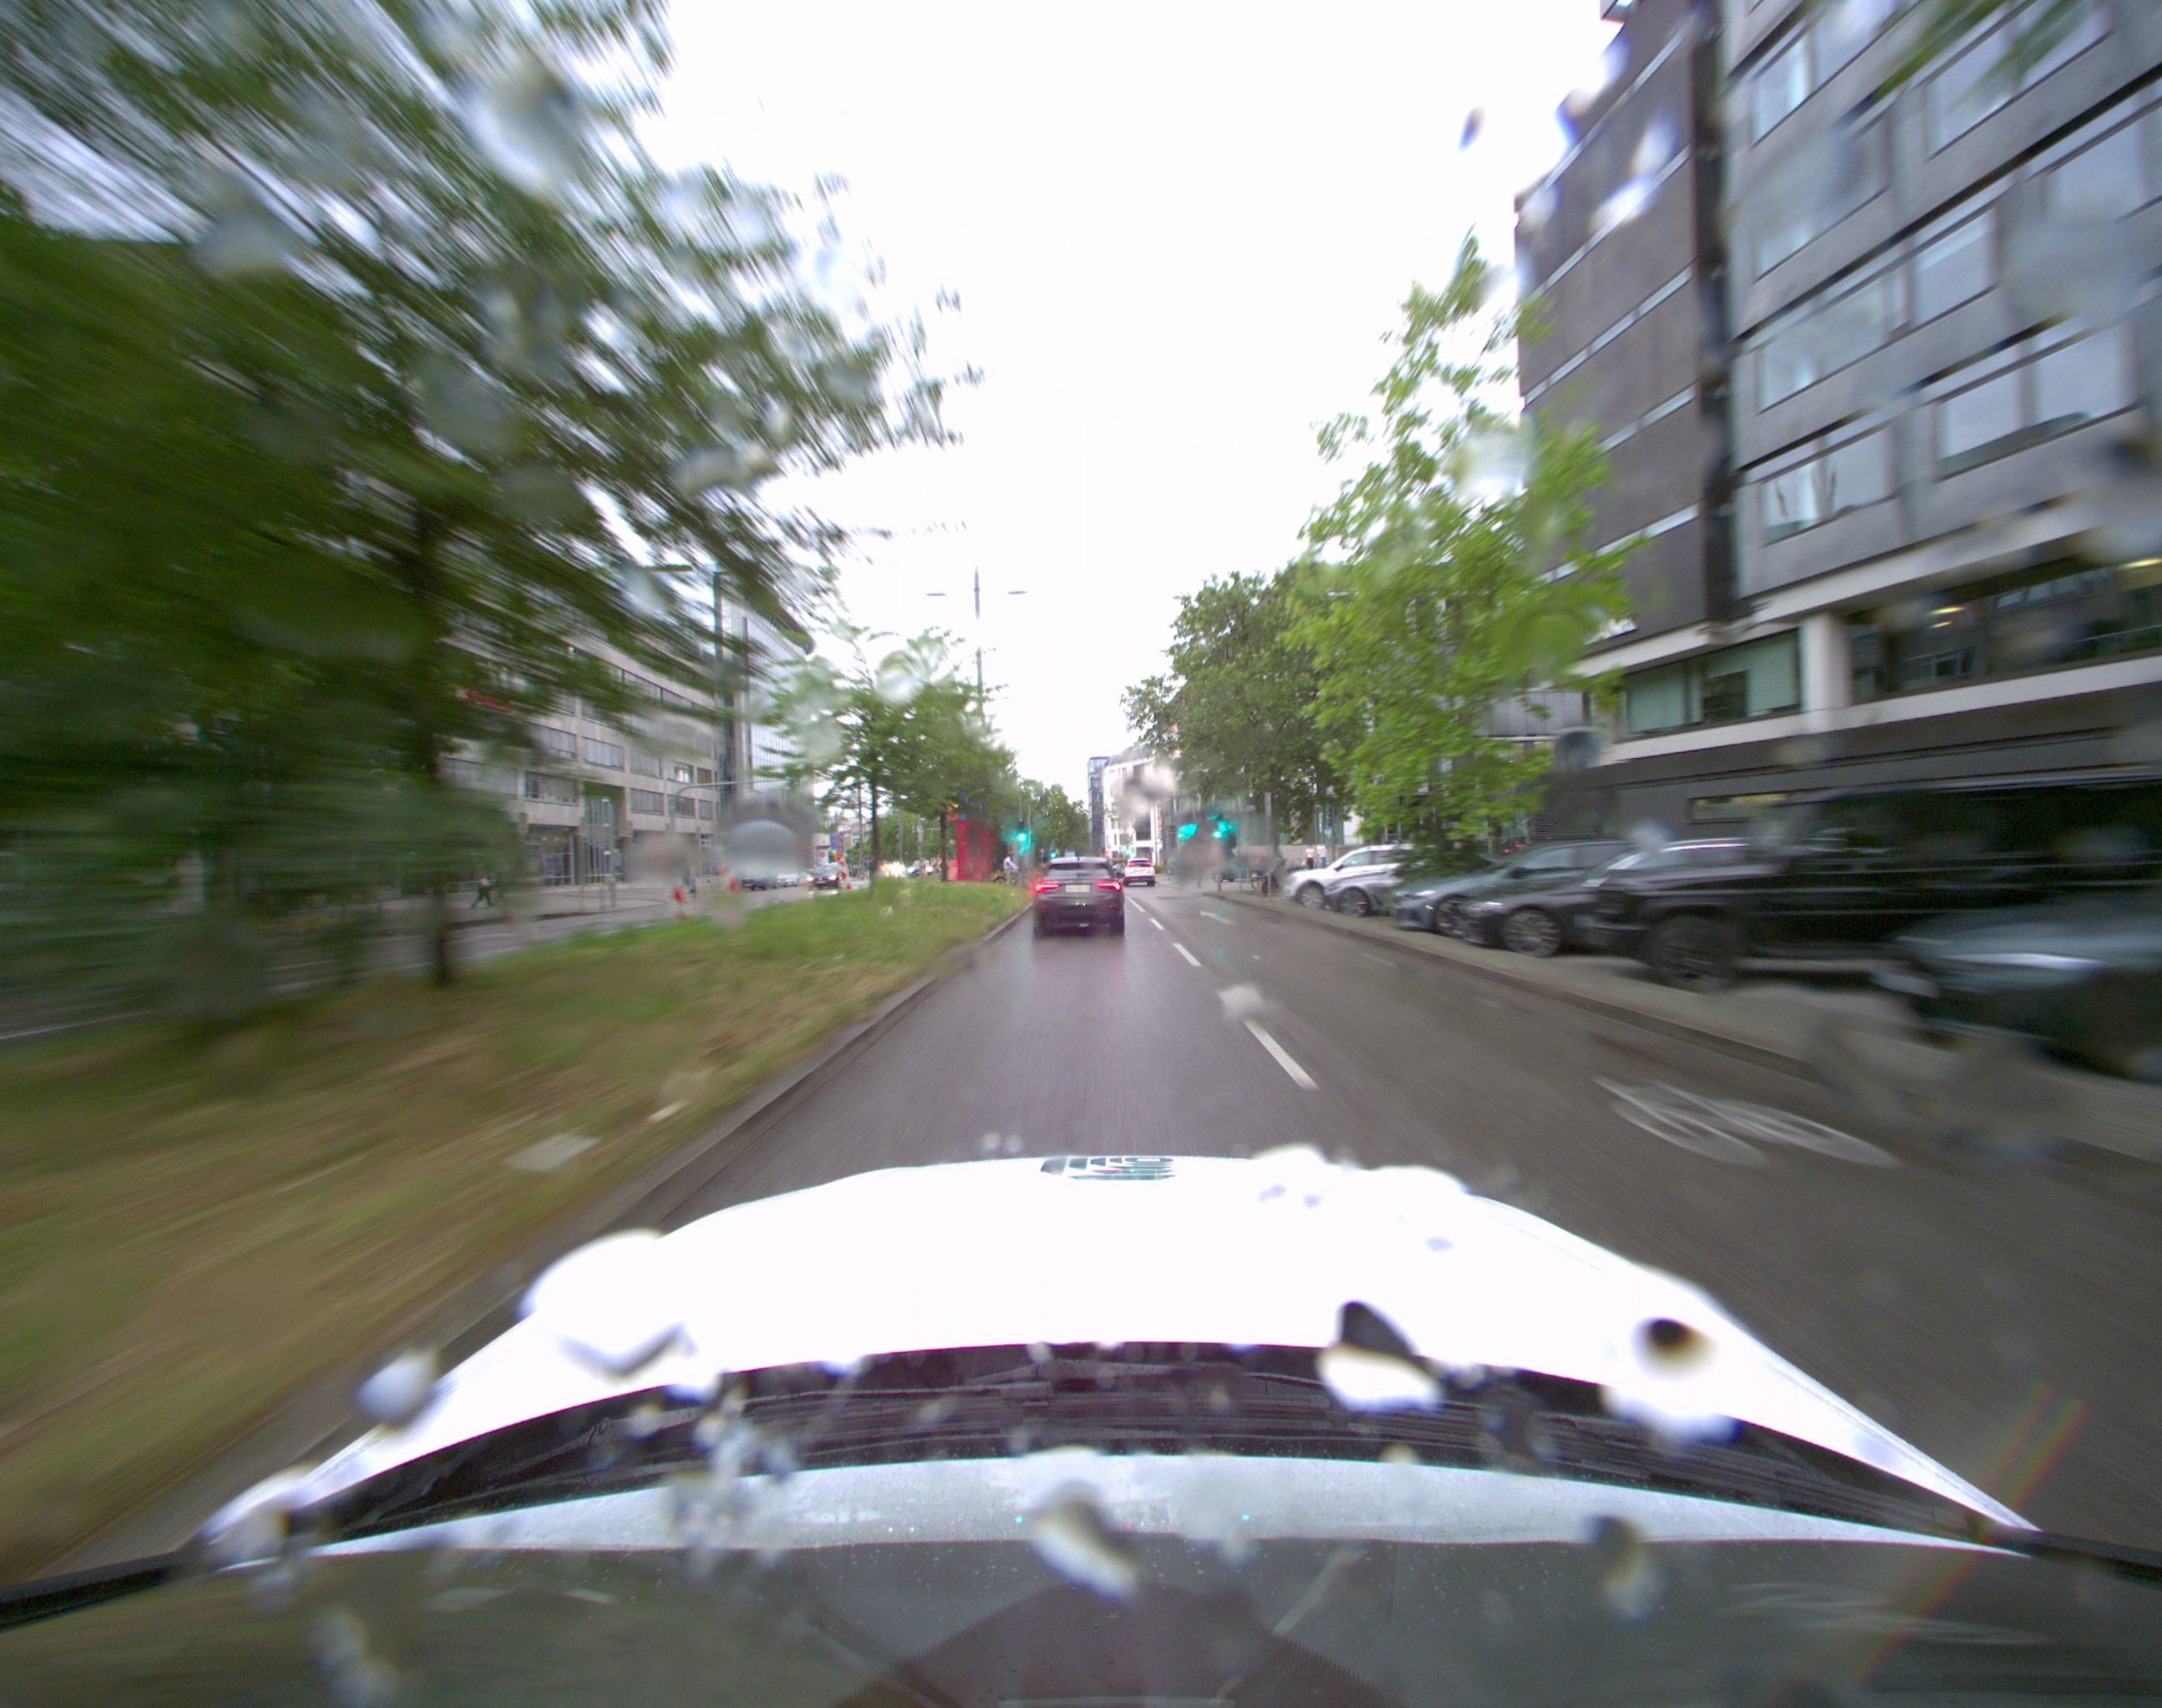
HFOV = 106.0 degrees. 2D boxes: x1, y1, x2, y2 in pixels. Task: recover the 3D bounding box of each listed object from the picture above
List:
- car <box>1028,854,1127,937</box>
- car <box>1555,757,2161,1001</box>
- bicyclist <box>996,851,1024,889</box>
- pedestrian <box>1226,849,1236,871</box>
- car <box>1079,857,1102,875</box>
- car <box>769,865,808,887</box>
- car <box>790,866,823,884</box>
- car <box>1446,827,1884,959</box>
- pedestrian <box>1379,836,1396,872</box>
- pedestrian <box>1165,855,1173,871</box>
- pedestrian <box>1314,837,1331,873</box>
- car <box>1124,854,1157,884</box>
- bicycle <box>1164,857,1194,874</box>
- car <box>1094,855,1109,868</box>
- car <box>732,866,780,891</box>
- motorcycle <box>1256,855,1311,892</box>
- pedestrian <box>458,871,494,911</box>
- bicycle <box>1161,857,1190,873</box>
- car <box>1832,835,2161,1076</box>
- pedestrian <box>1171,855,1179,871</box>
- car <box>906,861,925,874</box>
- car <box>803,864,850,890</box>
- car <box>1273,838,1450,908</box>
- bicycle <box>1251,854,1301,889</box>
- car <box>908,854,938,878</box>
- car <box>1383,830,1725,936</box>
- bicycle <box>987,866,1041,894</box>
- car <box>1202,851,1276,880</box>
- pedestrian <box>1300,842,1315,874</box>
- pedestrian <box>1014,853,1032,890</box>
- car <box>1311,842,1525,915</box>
[{"bbox_3d":[0.004,0.794,17.523,1.842,1.523,4.040,-1,0,2],"label":"car"},{"bbox_3d":[7.711,0.259,8.235,4.890,1.978,1.941,-3,0,28],"label":"car"},{"bbox_3d":[-3.113,0.696,35.663,1.100,1.622,0.751,1,-1,1],"label":"bicyclist"},{"bbox_3d":[14.455,0.587,78.489,0.929,2.115,1.079,-1,-1,14],"label":"pedestrian"},{"bbox_3d":[0.844,1.005,69.659,1.842,1.523,4.041,-1,0,3],"label":"car"},{"bbox_3d":[-22.536,1.681,62.935,1.806,1.548,3.992,-3,-1,-6],"label":"car"},{"bbox_3d":[-23.045,1.751,68.538,1.722,1.451,3.587,-3,-1,-4],"label":"car"},{"bbox_3d":[7.538,0.524,11.142,4.511,1.507,1.880,-3,0,26],"label":"car"},{"bbox_3d":[15.665,0.021,41.603,0.635,1.783,0.774,-5,-2,17],"label":"pedestrian"},{"bbox_3d":[11.124,1.122,102.932,0.853,2.014,0.975,-1,-1,-3],"label":"pedestrian"},{"bbox_3d":[14.668,0.072,49.477,0.929,2.115,1.079,-1,-1,14],"label":"pedestrian"},{"bbox_3d":[3.582,0.874,49.356,1.842,1.669,4.041,-1,0,3],"label":"car"},{"bbox_3d":[8.131,0.958,67.789,2.334,1.312,0.708,-1,0,-5],"label":"bicycle"},{"bbox_3d":[2.656,0.974,105.261,1.842,1.523,4.041,-1,0,3],"label":"car"},{"bbox_3d":[-22.023,1.642,55.325,1.872,1.536,4.069,-3,-1,-6],"label":"car"},{"bbox_3d":[7.812,0.749,31.556,2.015,1.415,0.728,-1,-1,10],"label":"motorcycle"},{"bbox_3d":[-25.699,1.564,34.610,0.989,1.645,0.677,-2,0,3],"label":"pedestrian"},{"bbox_3d":[8.090,0.952,69.684,2.334,1.312,0.708,-1,0,-5],"label":"bicycle"},{"bbox_3d":[7.915,0.546,4.951,4.578,1.394,1.859,-3,-1,30],"label":"car"},{"bbox_3d":[11.745,1.094,101.760,0.853,2.014,0.975,-1,-1,-3],"label":"pedestrian"},{"bbox_3d":[-20.958,1.674,103.324,1.729,1.558,3.994,-3,0,-5],"label":"car"},{"bbox_3d":[-15.006,1.344,48.158,1.803,1.310,3.991,-3,0,-6],"label":"car"},{"bbox_3d":[7.568,0.523,22.018,4.177,1.669,1.850,-3,0,29],"label":"car"},{"bbox_3d":[8.043,0.736,33.701,1.970,1.415,0.728,-1,-1,10],"label":"bicycle"},{"bbox_3d":[-13.326,0.996,68.955,1.990,1.826,3.994,-3,0,-5],"label":"car"},{"bbox_3d":[7.813,0.504,14.011,4.738,1.534,1.877,-3,0,16],"label":"car"},{"bbox_3d":[-2.916,1.122,35.648,2.246,1.162,0.751,1,-1,1],"label":"bicycle"},{"bbox_3d":[8.910,0.666,46.175,3.815,1.568,1.677,-2,-2,44],"label":"car"},{"bbox_3d":[13.780,0.234,49.592,0.860,1.904,0.888,-1,-1,14],"label":"pedestrian"},{"bbox_3d":[-2.855,0.878,40.263,0.657,1.793,0.753,-1,-1,15],"label":"pedestrian"},{"bbox_3d":[7.748,0.587,18.819,4.252,1.488,1.855,-3,0,31],"label":"car"}]
